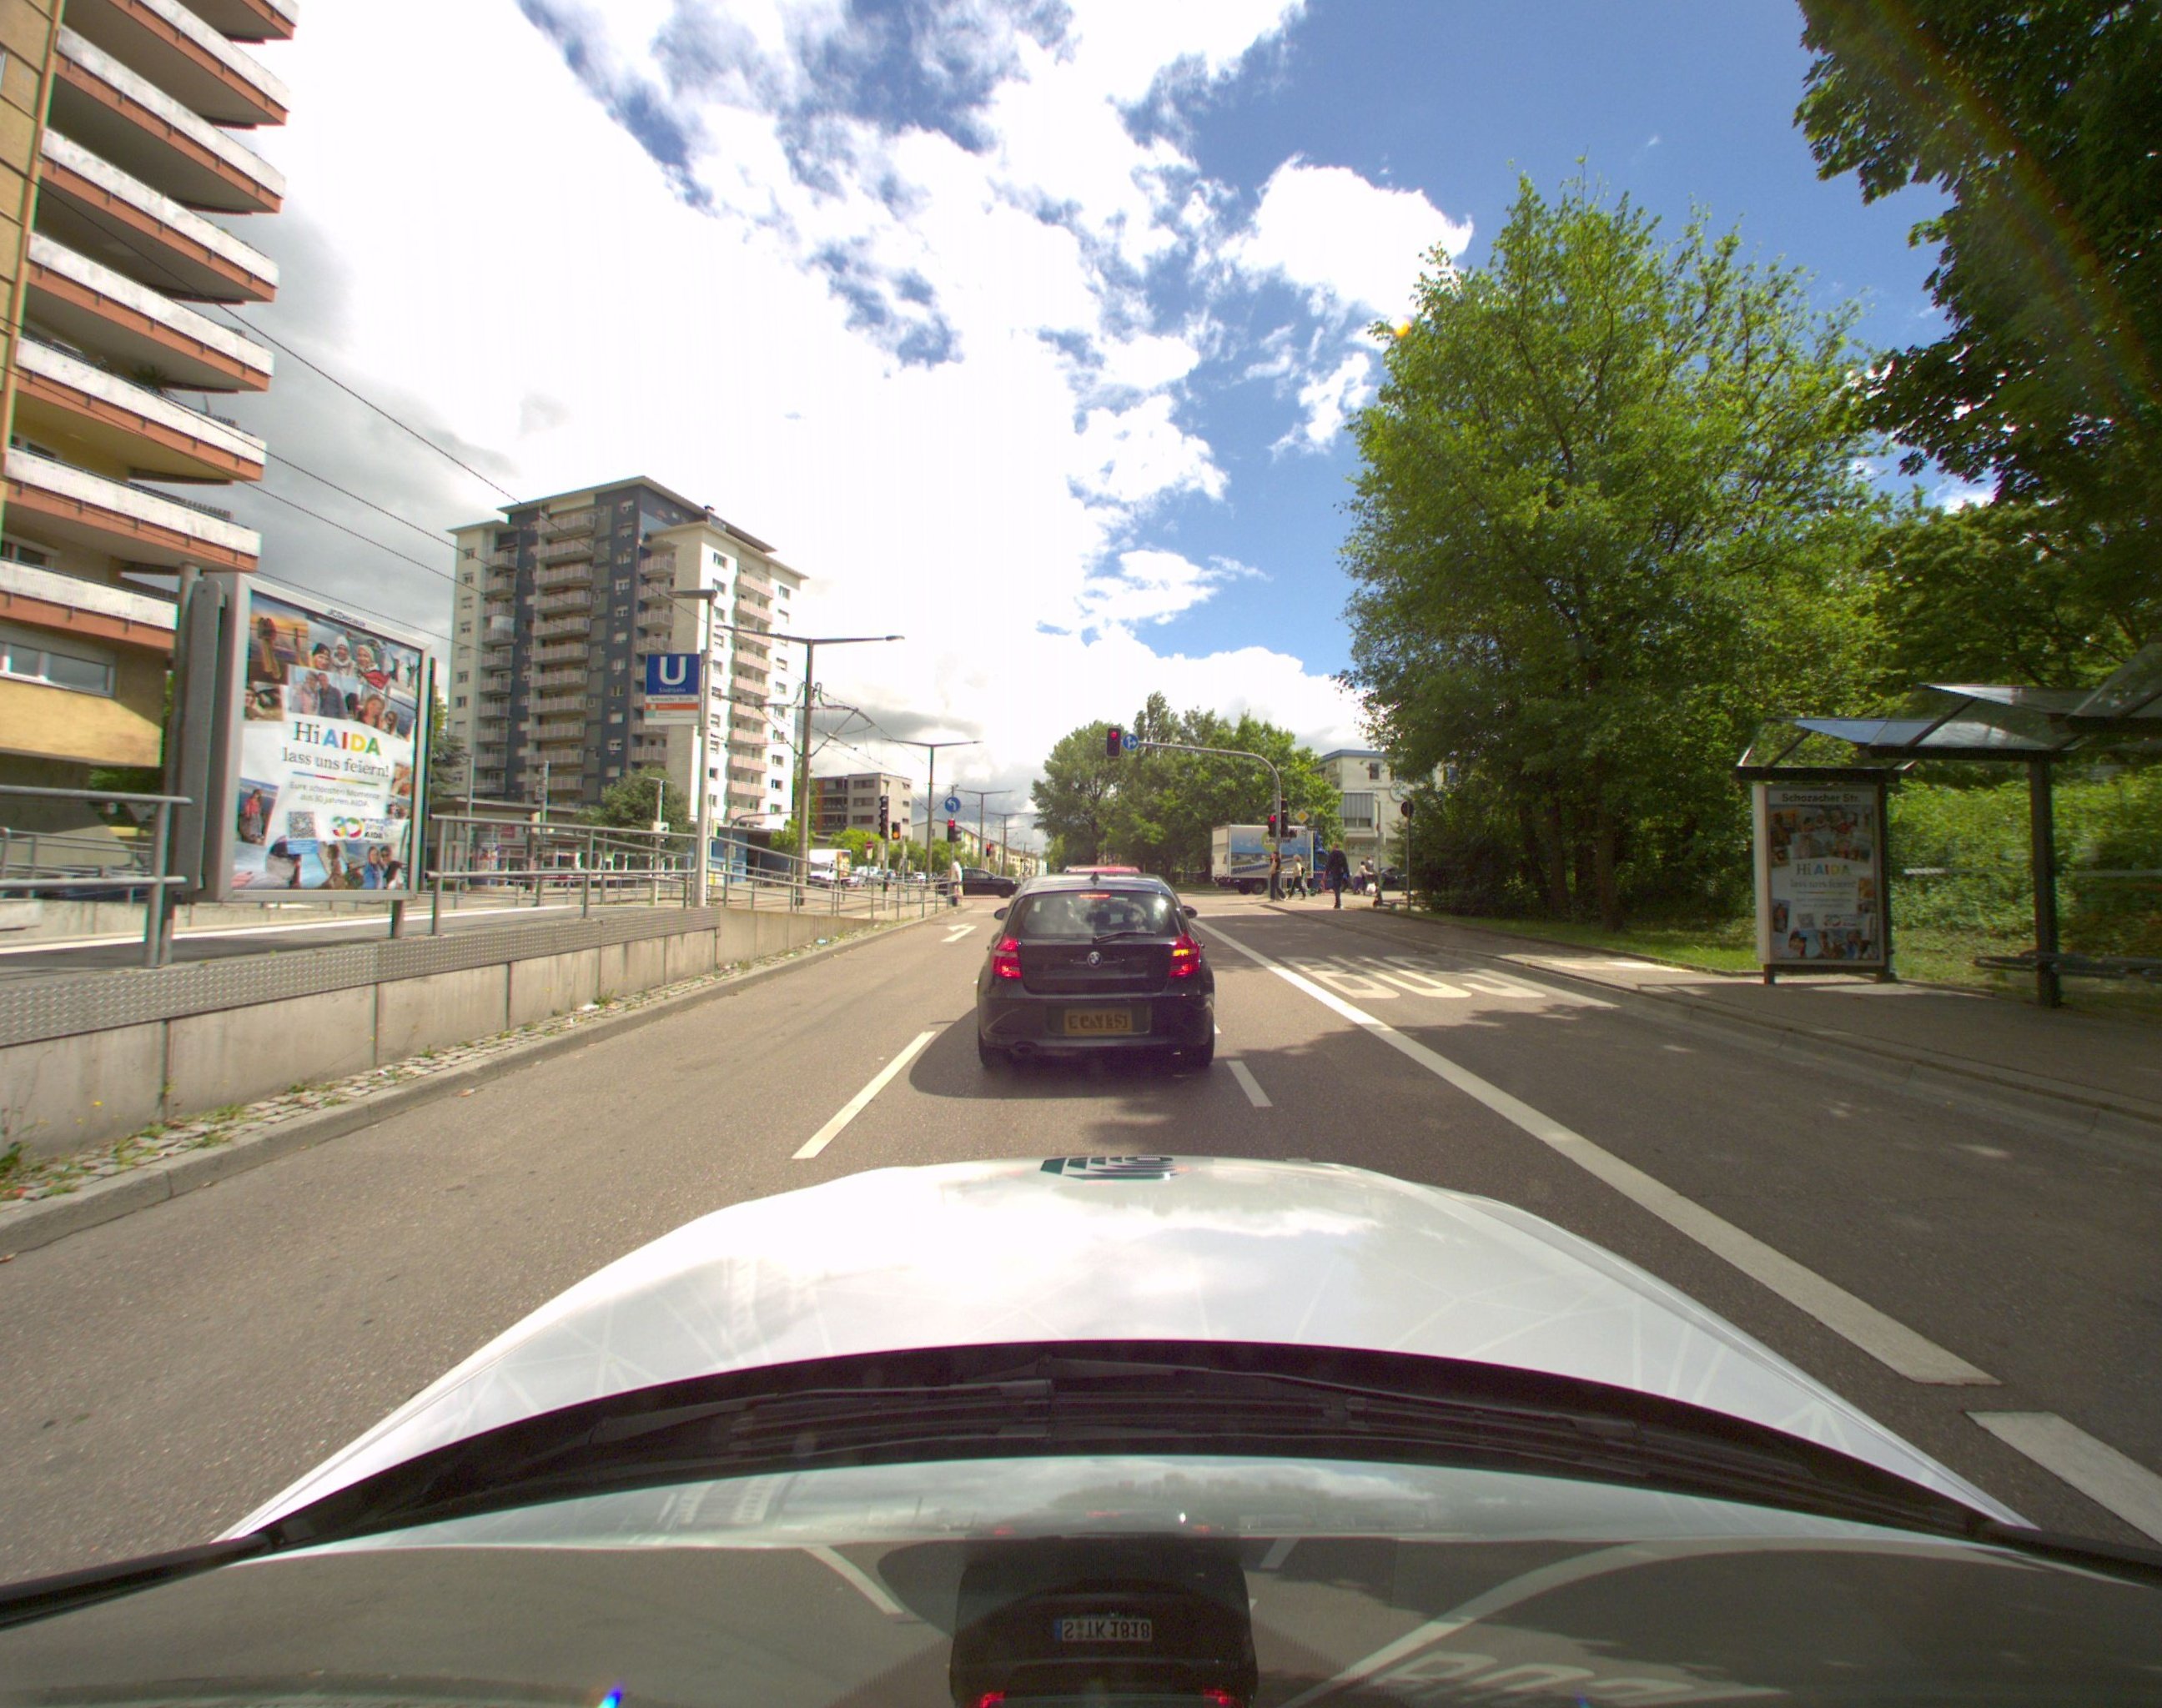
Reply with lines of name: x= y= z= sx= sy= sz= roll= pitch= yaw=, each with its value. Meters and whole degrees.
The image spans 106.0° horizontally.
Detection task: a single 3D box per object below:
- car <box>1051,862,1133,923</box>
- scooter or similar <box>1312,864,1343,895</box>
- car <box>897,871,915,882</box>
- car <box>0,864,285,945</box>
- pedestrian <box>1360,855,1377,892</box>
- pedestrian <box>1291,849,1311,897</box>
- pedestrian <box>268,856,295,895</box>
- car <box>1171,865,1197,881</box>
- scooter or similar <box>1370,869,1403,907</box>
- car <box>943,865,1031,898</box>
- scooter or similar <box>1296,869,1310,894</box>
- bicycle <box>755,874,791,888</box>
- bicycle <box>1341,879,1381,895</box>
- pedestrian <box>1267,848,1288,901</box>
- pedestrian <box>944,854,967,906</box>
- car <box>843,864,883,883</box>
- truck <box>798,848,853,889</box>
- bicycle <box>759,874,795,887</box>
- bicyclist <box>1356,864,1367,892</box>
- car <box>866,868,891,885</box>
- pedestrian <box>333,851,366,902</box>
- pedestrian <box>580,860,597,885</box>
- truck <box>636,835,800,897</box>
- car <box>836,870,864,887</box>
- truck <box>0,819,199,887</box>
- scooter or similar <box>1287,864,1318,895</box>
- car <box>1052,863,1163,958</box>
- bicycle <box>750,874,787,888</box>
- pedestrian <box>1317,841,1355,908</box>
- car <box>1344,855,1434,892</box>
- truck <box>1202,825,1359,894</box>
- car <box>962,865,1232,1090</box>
car: x=0.333 y=0.920 z=21.217 sx=1.893 sy=1.422 sz=4.540 roll=0 pitch=-1 yaw=2
scooter or similar: x=10.192 y=1.055 z=33.709 sx=1.145 sy=1.272 sz=0.556 roll=1 pitch=-1 yaw=4
car: x=-24.146 y=3.058 z=112.661 sx=1.586 sy=1.474 sz=3.775 roll=0 pitch=-1 yaw=1
car: x=-18.741 y=0.929 z=16.371 sx=1.573 sy=1.405 sz=3.866 roll=-1 pitch=-1 yaw=2
pedestrian: x=13.189 y=0.894 z=37.350 sx=0.651 sy=1.713 sz=0.464 roll=-1 pitch=-1 yaw=25
pedestrian: x=8.241 y=0.719 z=30.534 sx=0.633 sy=1.766 sz=0.519 roll=0 pitch=-1 yaw=6
pedestrian: x=-30.039 y=0.787 z=30.604 sx=0.494 sy=1.440 sz=0.551 roll=-2 pitch=-1 yaw=12
car: x=11.427 y=2.091 z=90.561 sx=1.862 sy=1.662 sz=3.987 roll=0 pitch=-1 yaw=-9
scooter or similar: x=10.666 y=1.177 z=28.441 sx=0.886 sy=1.230 sz=0.455 roll=4 pitch=-1 yaw=2
car: x=-4.442 y=1.256 z=38.268 sx=3.989 sy=1.486 sz=1.840 roll=0 pitch=-1 yaw=-12
scooter or similar: x=9.481 y=1.165 z=34.798 sx=0.543 sy=1.064 sz=1.267 roll=-1 pitch=-1 yaw=16
bicycle: x=-24.153 y=2.137 z=63.972 sx=2.570 sy=1.009 sz=0.749 roll=2 pitch=-3 yaw=-27
bicycle: x=12.039 y=1.396 z=35.029 sx=1.572 sy=0.610 sz=0.537 roll=1 pitch=0 yaw=22
pedestrian: x=6.941 y=0.714 z=28.814 sx=0.633 sy=1.876 sz=0.519 roll=0 pitch=-1 yaw=6
pedestrian: x=-4.276 y=0.891 z=27.835 sx=0.685 sy=1.734 sz=0.687 roll=0 pitch=-1 yaw=-1
car: x=-24.181 y=2.154 z=90.260 sx=3.945 sy=1.975 sz=1.637 roll=0 pitch=-1 yaw=-41
truck: x=-20.523 y=1.188 z=65.808 sx=2.275 sy=3.118 sz=7.312 roll=0 pitch=-1 yaw=-2
bicycle: x=-24.276 y=2.148 z=65.076 sx=2.570 sy=1.009 sz=0.749 roll=2 pitch=-3 yaw=-27
bicyclist: x=12.065 y=1.020 z=35.012 sx=0.395 sy=1.157 sz=0.505 roll=1 pitch=0 yaw=22
car: x=-20.935 y=2.330 z=84.251 sx=1.586 sy=1.756 sz=3.775 roll=0 pitch=-1 yaw=1
pedestrian: x=-25.713 y=0.780 z=28.629 sx=0.650 sy=1.776 sz=0.667 roll=-1 pitch=-1 yaw=30
pedestrian: x=-39.516 y=1.477 z=65.330 sx=0.851 sy=2.014 sz=0.852 roll=-1 pitch=-1 yaw=29
truck: x=-18.208 y=0.628 z=40.992 sx=7.222 sy=2.940 sz=2.768 roll=-1 pitch=-1 yaw=11
car: x=-20.874 y=2.165 z=73.633 sx=1.402 sy=1.461 sz=3.773 roll=0 pitch=-1 yaw=0
truck: x=-34.575 y=-0.019 z=28.755 sx=4.262 sy=2.290 sz=2.352 roll=0 pitch=-1 yaw=2
scooter or similar: x=8.936 y=1.025 z=32.850 sx=1.105 sy=1.235 sz=0.540 roll=0 pitch=-1 yaw=4
car: x=0.444 y=0.856 z=13.740 sx=1.632 sy=1.400 sz=3.421 roll=0 pitch=-1 yaw=2
bicycle: x=-24.085 y=2.110 z=62.800 sx=2.570 sy=1.009 sz=0.749 roll=2 pitch=-3 yaw=-27
pedestrian: x=7.260 y=0.575 z=23.221 sx=0.791 sy=1.876 sz=1.015 roll=-1 pitch=-1 yaw=5
car: x=17.985 y=1.107 z=47.664 sx=4.529 sy=2.014 sz=1.996 roll=-1 pitch=-1 yaw=-6
truck: x=9.963 y=0.256 z=40.967 sx=7.269 sy=3.348 sz=2.599 roll=0 pitch=-1 yaw=-10
car: x=0.153 y=0.799 z=6.839 sx=1.694 sy=1.400 sz=3.421 roll=0 pitch=-1 yaw=2
